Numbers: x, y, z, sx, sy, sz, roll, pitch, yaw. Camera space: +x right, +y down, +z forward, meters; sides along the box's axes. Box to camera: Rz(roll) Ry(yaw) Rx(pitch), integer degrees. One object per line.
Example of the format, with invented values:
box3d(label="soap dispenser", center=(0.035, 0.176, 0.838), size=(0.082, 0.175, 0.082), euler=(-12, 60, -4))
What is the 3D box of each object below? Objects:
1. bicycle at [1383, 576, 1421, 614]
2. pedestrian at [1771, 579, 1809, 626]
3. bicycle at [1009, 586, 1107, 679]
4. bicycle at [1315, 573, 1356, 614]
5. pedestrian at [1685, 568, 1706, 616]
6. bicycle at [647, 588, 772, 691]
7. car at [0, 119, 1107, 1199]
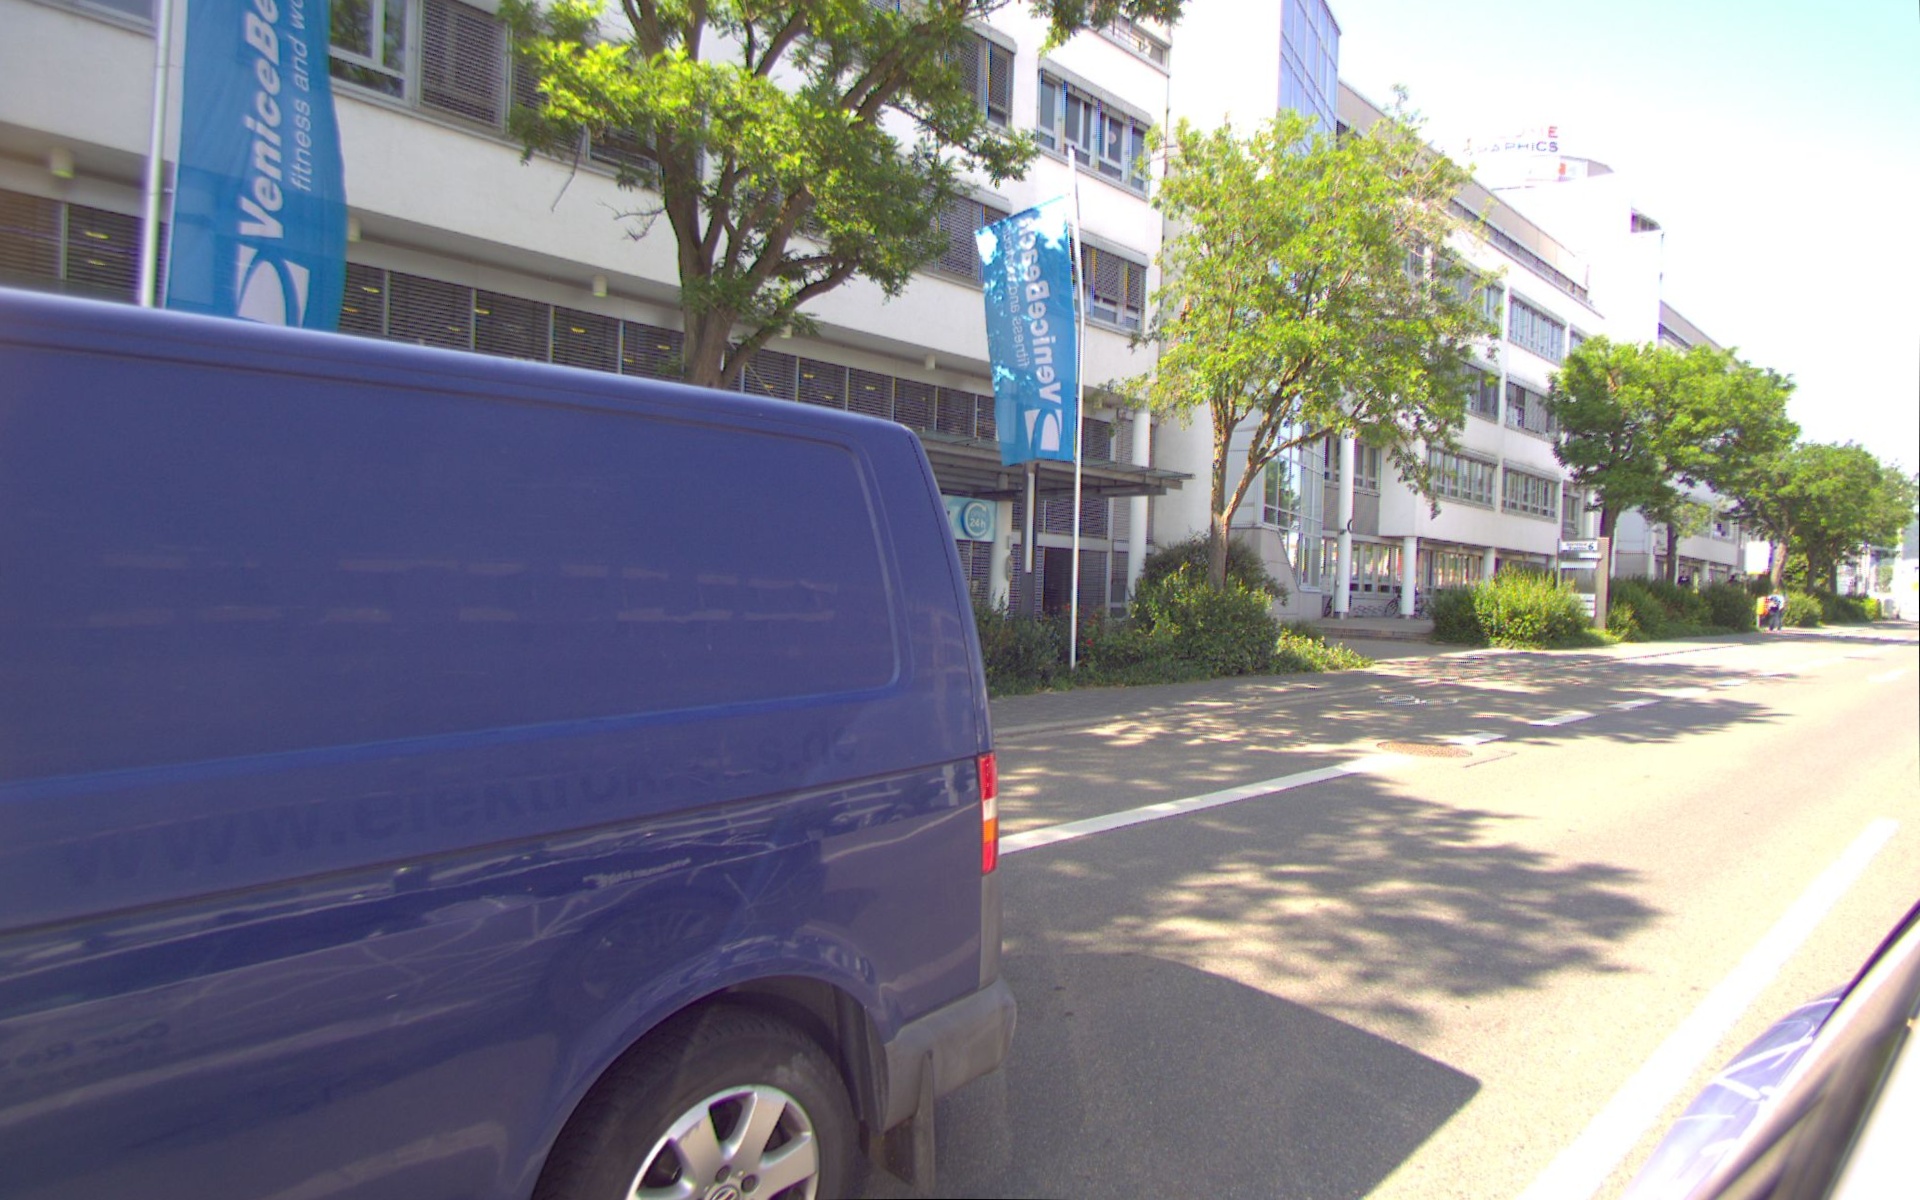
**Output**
box3d(label="bicycle", center=(16.408, -0.174, 37.540), size=(1.851, 1.371, 0.506), euler=(0, 1, -41))
box3d(label="pedestrian", center=(35.249, 0.096, 42.978), size=(1.267, 1.909, 0.942), euler=(0, 4, -41))
box3d(label="bicycle", center=(1.542, 0.467, 15.628), size=(0.504, 1.346, 1.856), euler=(2, 1, 41))
box3d(label="bicycle", center=(12.966, -0.240, 34.919), size=(1.851, 1.371, 0.506), euler=(0, 1, -41))
box3d(label="pedestrian", center=(39.271, -0.434, 54.016), size=(0.704, 2.581, 0.716), euler=(0, 1, -43))
box3d(label="bicycle", center=(-3.582, 0.529, 14.415), size=(1.868, 1.346, 0.501), euler=(2, 1, 30))
box3d(label="car", center=(-2.107, 0.406, 1.647), size=(4.806, 1.972, 1.997), euler=(-1, 2, -41))
